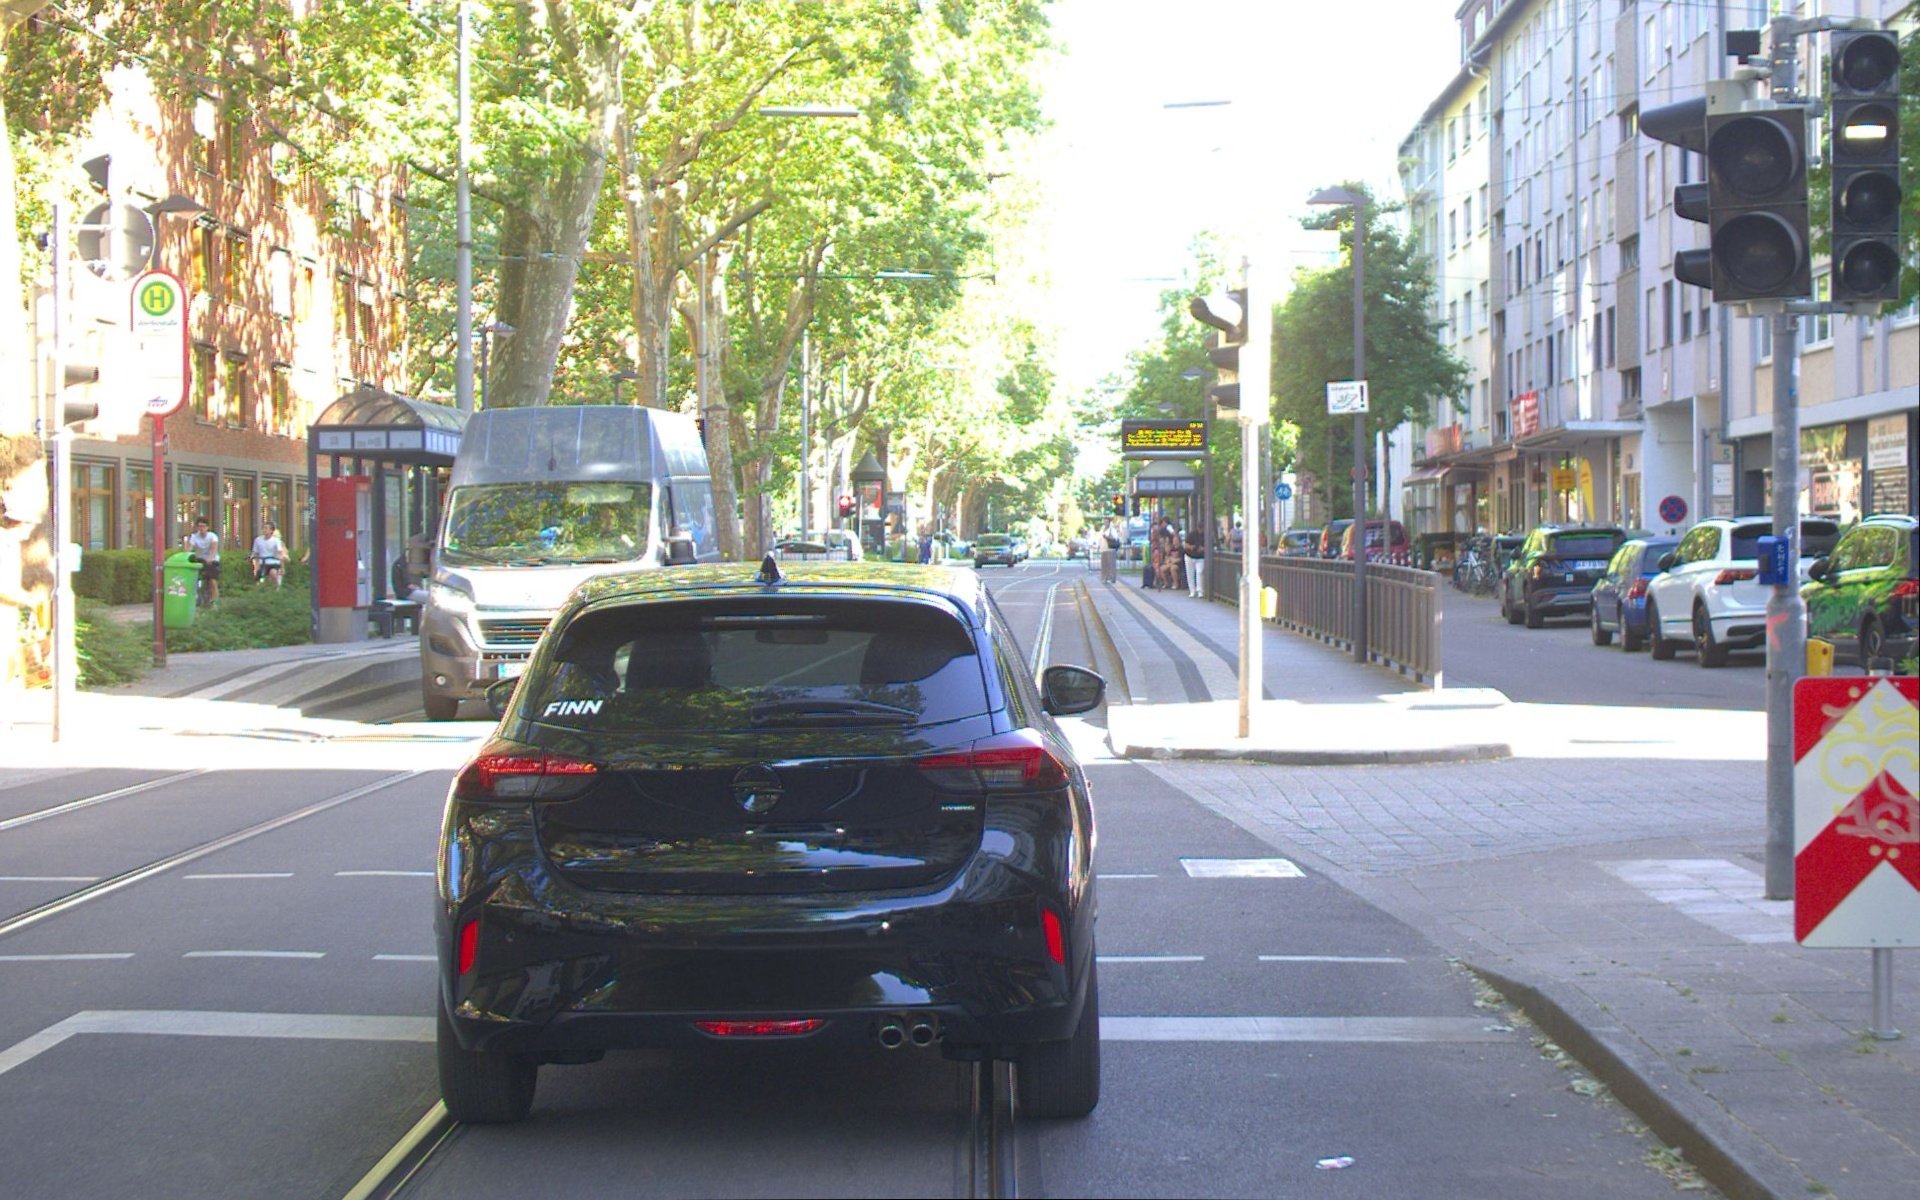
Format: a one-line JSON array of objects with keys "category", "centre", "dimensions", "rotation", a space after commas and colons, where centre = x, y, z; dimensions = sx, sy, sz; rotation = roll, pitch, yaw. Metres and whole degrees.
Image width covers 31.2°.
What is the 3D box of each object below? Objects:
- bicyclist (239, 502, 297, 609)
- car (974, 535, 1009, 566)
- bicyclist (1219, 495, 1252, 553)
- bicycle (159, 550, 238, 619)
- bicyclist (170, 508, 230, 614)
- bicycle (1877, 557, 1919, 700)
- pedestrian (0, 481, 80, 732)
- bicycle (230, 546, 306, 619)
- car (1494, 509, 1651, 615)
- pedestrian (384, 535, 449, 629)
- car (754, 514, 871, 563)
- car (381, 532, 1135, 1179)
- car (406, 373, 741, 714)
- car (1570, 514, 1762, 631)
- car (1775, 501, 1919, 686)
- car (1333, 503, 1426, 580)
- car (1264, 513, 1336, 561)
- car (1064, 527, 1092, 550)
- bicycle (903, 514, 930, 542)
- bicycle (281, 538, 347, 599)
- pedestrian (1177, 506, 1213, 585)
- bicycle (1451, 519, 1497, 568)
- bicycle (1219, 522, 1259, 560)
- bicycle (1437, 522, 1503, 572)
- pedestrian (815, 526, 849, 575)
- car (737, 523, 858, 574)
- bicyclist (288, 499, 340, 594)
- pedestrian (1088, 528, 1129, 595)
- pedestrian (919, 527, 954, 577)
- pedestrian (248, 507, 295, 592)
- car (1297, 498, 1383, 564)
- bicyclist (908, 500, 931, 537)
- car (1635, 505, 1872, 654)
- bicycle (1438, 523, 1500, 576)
[{"category": "bicyclist", "centre": [-11.560, -0.747, 57.479], "dimensions": [0.782, 1.757, 0.951], "rotation": [0, 1, -1]}, {"category": "car", "centre": [1.596, -2.503, 175.200], "dimensions": [1.745, 1.539, 4.000], "rotation": [0, 1, 0]}, {"category": "bicyclist", "centre": [8.522, -2.345, 106.387], "dimensions": [0.861, 1.753, 1.054], "rotation": [0, 1, -4]}, {"category": "bicycle", "centre": [-12.675, -0.267, 57.298], "dimensions": [0.782, 1.107, 2.596], "rotation": [0, 1, -1]}, {"category": "bicyclist", "centre": [-12.679, -0.648, 57.380], "dimensions": [0.774, 1.744, 0.997], "rotation": [0, 1, 0]}, {"category": "bicycle", "centre": [8.818, 0.244, 28.794], "dimensions": [2.127, 1.183, 0.681], "rotation": [1, 1, 10]}, {"category": "pedestrian", "centre": [-7.184, 0.035, 25.828], "dimensions": [0.924, 1.829, 0.920], "rotation": [0, 3, -2]}, {"category": "bicycle", "centre": [-11.571, -0.307, 57.576], "dimensions": [0.782, 1.187, 2.596], "rotation": [0, 1, -1]}, {"category": "car", "centre": [9.781, -0.613, 55.183], "dimensions": [1.857, 1.610, 4.397], "rotation": [1, 1, 2]}, {"category": "pedestrian", "centre": [-6.914, -0.235, 43.721], "dimensions": [0.705, 1.164, 0.659], "rotation": [-1, 1, -1]}, {"category": "car", "centre": [-5.646, -2.341, 131.493], "dimensions": [4.384, 1.845, 2.000], "rotation": [0, 1, -5]}, {"category": "car", "centre": [-0.488, 0.578, 9.952], "dimensions": [1.760, 1.503, 3.683], "rotation": [-1, 1, 0]}, {"category": "car", "centre": [-3.344, -0.496, 31.049], "dimensions": [2.114, 2.728, 6.115], "rotation": [-1, 1, 2]}, {"category": "car", "centre": [9.162, -0.370, 44.914], "dimensions": [1.744, 1.435, 4.247], "rotation": [1, 1, 2]}, {"category": "car", "centre": [9.082, -0.092, 32.107], "dimensions": [1.993, 1.610, 4.445], "rotation": [-1, 1, 2]}, {"category": "car", "centre": [10.915, -1.512, 89.685], "dimensions": [1.993, 1.946, 4.000], "rotation": [0, 1, 1]}, {"category": "car", "centre": [10.685, -1.968, 108.318], "dimensions": [1.993, 1.481, 4.000], "rotation": [1, 1, 2]}, {"category": "car", "centre": [7.976, -4.156, 233.084], "dimensions": [1.745, 1.539, 4.000], "rotation": [0, 1, 0]}, {"category": "bicycle", "centre": [-1.981, -3.316, 158.677], "dimensions": [0.955, 1.236, 2.977], "rotation": [1, 1, 5]}, {"category": "bicycle", "centre": [-11.943, -0.588, 63.605], "dimensions": [0.782, 1.107, 2.596], "rotation": [0, 1, -1]}, {"category": "pedestrian", "centre": [4.740, -1.100, 69.352], "dimensions": [0.631, 1.571, 0.870], "rotation": [2, 1, 2]}, {"category": "bicycle", "centre": [12.069, -1.322, 80.785], "dimensions": [0.410, 1.132, 2.204], "rotation": [0, 1, -9]}, {"category": "bicycle", "centre": [8.570, -1.810, 105.729], "dimensions": [0.861, 1.132, 2.396], "rotation": [0, 1, -4]}, {"category": "bicycle", "centre": [11.751, -1.228, 79.298], "dimensions": [0.611, 1.132, 2.922], "rotation": [0, 1, -9]}, {"category": "pedestrian", "centre": [-4.545, -1.751, 122.294], "dimensions": [1.163, 1.742, 0.958], "rotation": [0, 1, -3]}, {"category": "car", "centre": [-5.673, -1.791, 119.623], "dimensions": [4.113, 1.695, 1.884], "rotation": [0, 1, -5]}, {"category": "bicyclist", "centre": [-11.943, -0.986, 63.583], "dimensions": [0.774, 1.744, 0.997], "rotation": [0, 1, 0]}, {"category": "pedestrian", "centre": [3.823, -0.994, 88.552], "dimensions": [0.751, 1.703, 0.762], "rotation": [1, 1, 36]}, {"category": "pedestrian", "centre": [-0.835, -1.705, 121.157], "dimensions": [1.163, 1.742, 0.958], "rotation": [0, 1, -3]}, {"category": "pedestrian", "centre": [-13.591, -0.990, 67.891], "dimensions": [0.735, 1.666, 0.861], "rotation": [0, 1, 2]}, {"category": "car", "centre": [10.599, -1.911, 96.118], "dimensions": [1.993, 1.791, 4.000], "rotation": [0, 1, 1]}, {"category": "bicyclist", "centre": [-1.892, -3.794, 159.560], "dimensions": [0.941, 1.697, 1.153], "rotation": [1, 1, 5]}, {"category": "car", "centre": [8.996, -0.252, 39.318], "dimensions": [1.799, 1.600, 4.415], "rotation": [1, 1, 2]}, {"category": "bicycle", "centre": [11.148, -1.112, 75.373], "dimensions": [0.621, 1.132, 2.440], "rotation": [0, 1, -9]}]
